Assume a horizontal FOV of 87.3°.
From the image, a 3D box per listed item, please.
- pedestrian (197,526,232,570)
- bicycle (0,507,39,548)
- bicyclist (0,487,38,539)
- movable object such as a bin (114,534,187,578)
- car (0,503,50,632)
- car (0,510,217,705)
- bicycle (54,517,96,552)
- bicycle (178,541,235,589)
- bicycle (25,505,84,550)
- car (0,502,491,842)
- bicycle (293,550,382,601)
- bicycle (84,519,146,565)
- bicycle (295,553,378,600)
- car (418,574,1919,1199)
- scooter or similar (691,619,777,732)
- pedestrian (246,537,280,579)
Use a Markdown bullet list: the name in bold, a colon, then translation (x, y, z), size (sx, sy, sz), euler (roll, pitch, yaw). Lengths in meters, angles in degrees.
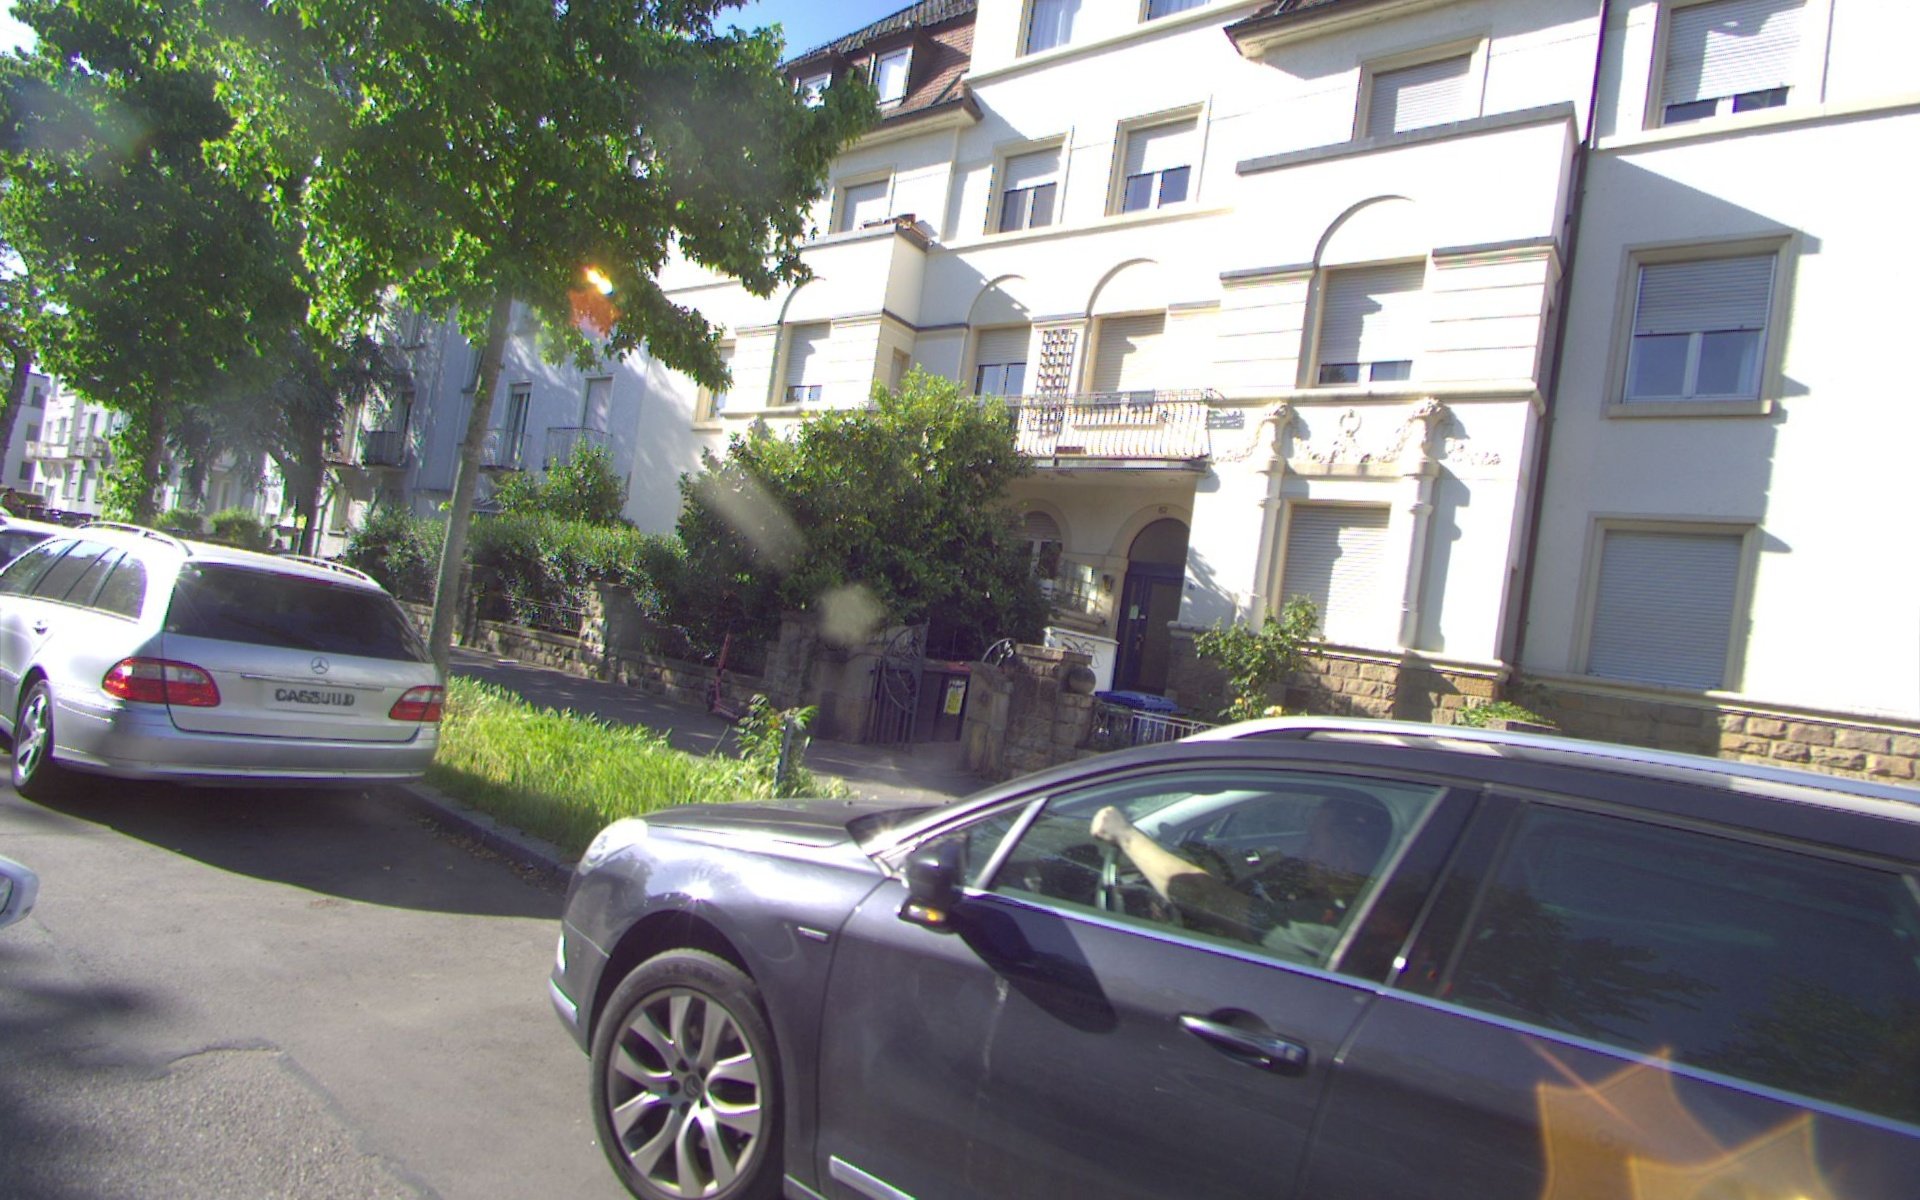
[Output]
- **pedestrian**: translation (-21.801, -1.522, 29.403), size (0.745, 1.155, 0.510), euler (7, -3, 39)
- **bicycle**: translation (-31.599, -2.450, 33.551), size (2.364, 1.166, 0.685), euler (7, -2, 34)
- **bicyclist**: translation (-31.374, -2.883, 33.456), size (1.005, 1.571, 0.677), euler (7, -1, 34)
- **movable object such as a bin**: translation (-21.430, -1.168, 26.670), size (1.214, 0.915, 1.650), euler (10, -2, -32)
- **car**: translation (-13.734, -0.688, 13.235), size (3.907, 1.548, 1.658), euler (7, -5, 36)
- **car**: translation (-9.276, -0.123, 9.829), size (4.786, 1.425, 1.714), euler (7, -4, 36)
- **bicycle**: translation (-28.956, -2.156, 32.912), size (1.874, 0.968, 0.596), euler (7, -1, 37)
- **bicycle**: translation (-18.564, -0.877, 24.755), size (1.875, 0.986, 0.581), euler (7, -1, 39)
- **bicycle**: translation (-30.861, -2.485, 34.275), size (2.195, 1.271, 0.840), euler (7, -3, 34)
- **car**: translation (-5.431, 0.278, 6.791), size (4.833, 1.485, 1.825), euler (7, -4, 36)
- **bicycle**: translation (-17.156, -0.665, 27.751), size (0.574, 1.113, 1.897), euler (7, -2, 40)
- **bicycle**: translation (-25.392, -1.736, 30.232), size (1.968, 1.127, 0.805), euler (7, -3, 34)
- **bicycle**: translation (-18.476, -0.689, 29.832), size (0.574, 1.113, 1.897), euler (7, -2, 40)
- **car**: translation (0.911, 1.014, 2.517), size (4.890, 1.540, 1.899), euler (6, -4, 36)
- **scooter or similar**: translation (-2.770, 0.906, 12.274), size (0.400, 1.198, 1.193), euler (9, -1, -37)
- **pedestrian**: translation (-21.289, -1.293, 30.727), size (0.744, 1.155, 0.510), euler (7, -3, 35)
